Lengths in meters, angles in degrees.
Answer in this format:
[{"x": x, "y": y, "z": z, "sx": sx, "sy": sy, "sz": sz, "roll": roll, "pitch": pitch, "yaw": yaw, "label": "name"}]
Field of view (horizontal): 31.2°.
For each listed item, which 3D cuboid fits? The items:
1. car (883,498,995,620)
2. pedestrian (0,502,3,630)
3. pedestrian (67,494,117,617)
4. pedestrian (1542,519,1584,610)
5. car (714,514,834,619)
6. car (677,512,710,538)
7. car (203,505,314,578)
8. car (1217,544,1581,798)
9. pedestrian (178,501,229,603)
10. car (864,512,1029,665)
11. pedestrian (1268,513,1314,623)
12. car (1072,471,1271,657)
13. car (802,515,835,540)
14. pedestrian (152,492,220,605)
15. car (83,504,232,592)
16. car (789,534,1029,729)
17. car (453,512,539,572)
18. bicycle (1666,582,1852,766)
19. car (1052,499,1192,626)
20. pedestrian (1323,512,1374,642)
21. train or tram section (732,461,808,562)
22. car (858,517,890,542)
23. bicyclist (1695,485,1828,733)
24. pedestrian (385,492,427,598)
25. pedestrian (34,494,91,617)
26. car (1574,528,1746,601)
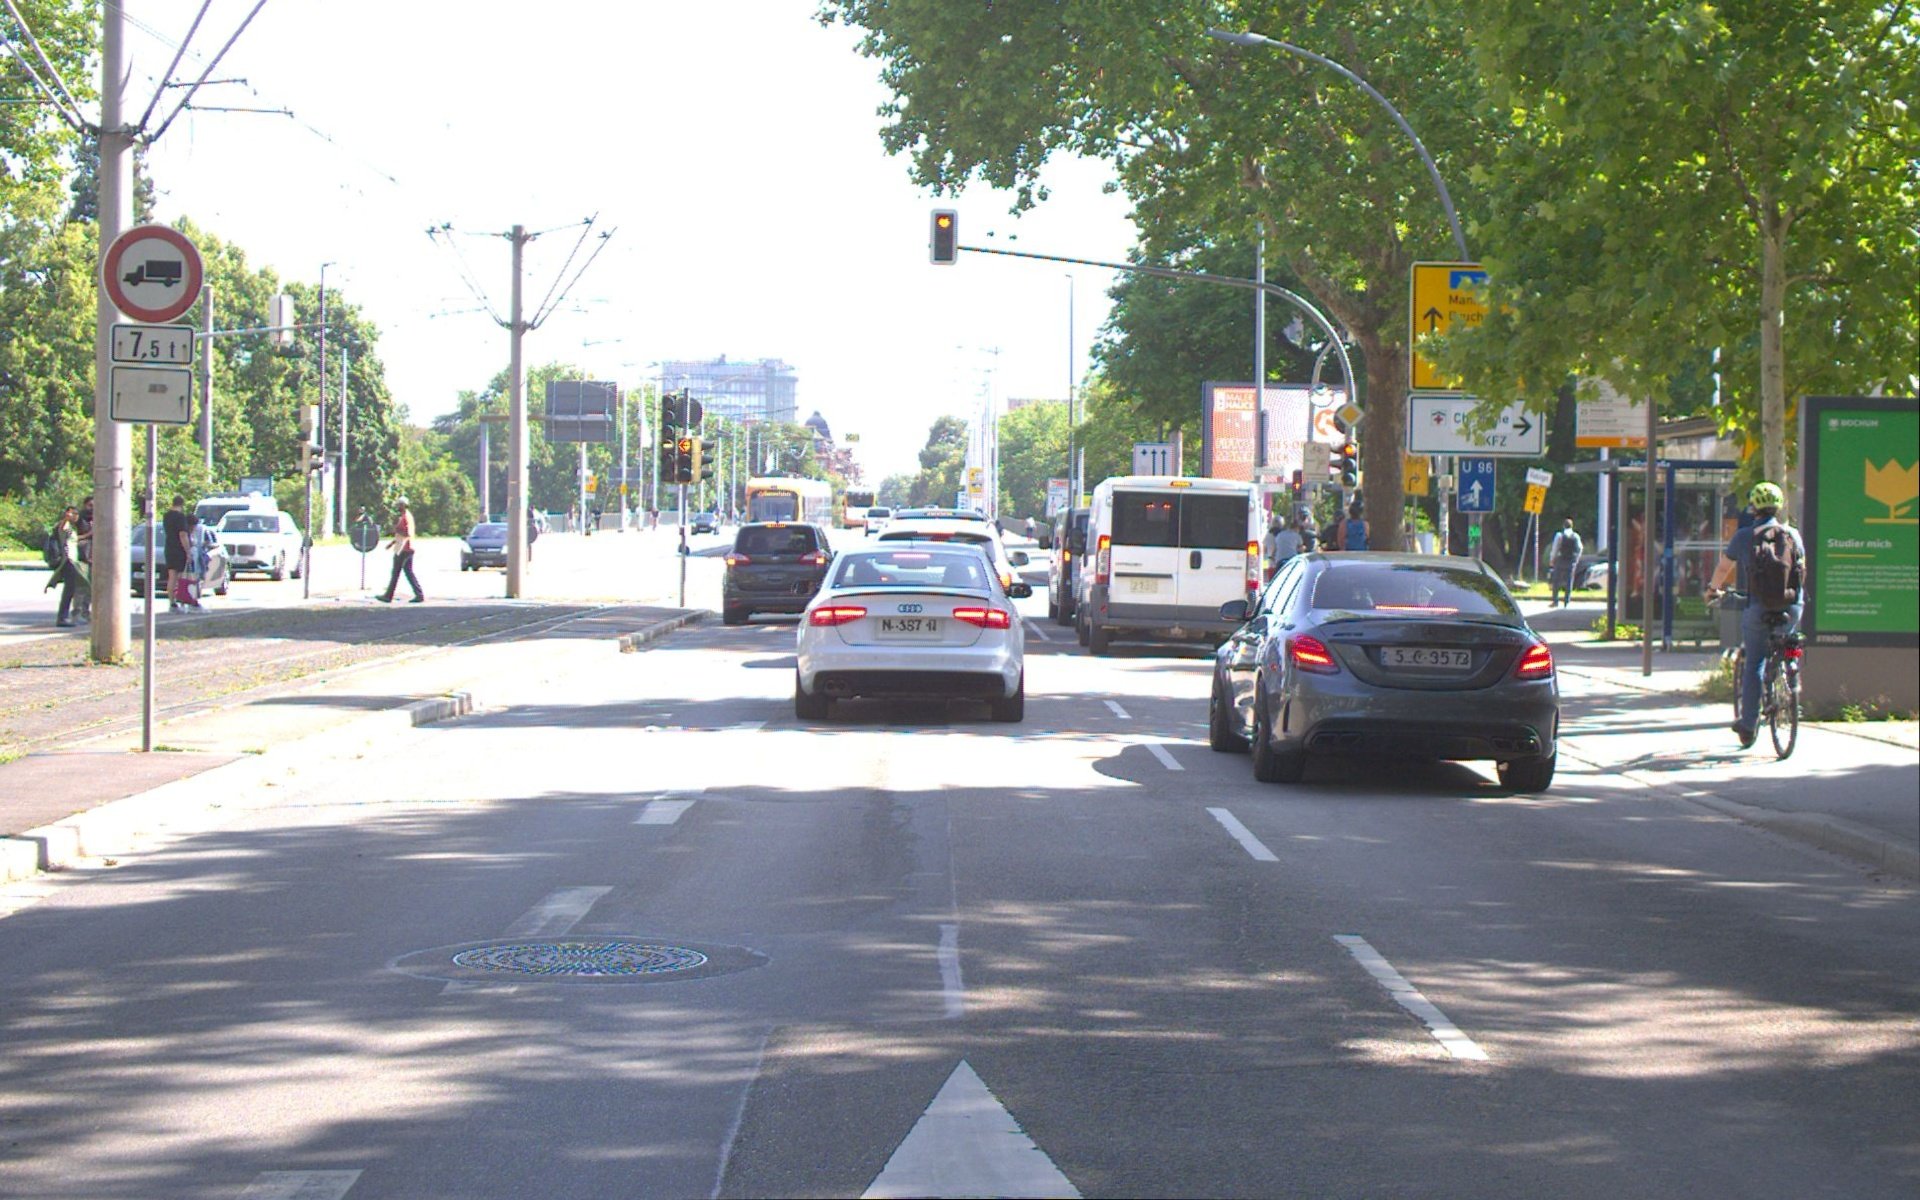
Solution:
[{"x": -0.335, "y": -0.694, "z": 56.458, "sx": 1.729, "sy": 1.895, "sz": 4.000, "roll": 2, "pitch": 1, "yaw": 0, "label": "car"}, {"x": -11.841, "y": -0.373, "z": 40.889, "sx": 0.757, "sy": 1.617, "sz": 0.595, "roll": 1, "pitch": 1, "yaw": -25, "label": "pedestrian"}, {"x": -11.950, "y": -0.616, "z": 47.347, "sx": 0.492, "sy": 1.673, "sz": 0.643, "roll": 2, "pitch": 1, "yaw": 0, "label": "pedestrian"}, {"x": 12.005, "y": -0.703, "z": 68.436, "sx": 0.778, "sy": 1.782, "sz": 0.763, "roll": 1, "pitch": 1, "yaw": 11, "label": "pedestrian"}, {"x": -3.023, "y": -0.569, "z": 56.466, "sx": 1.729, "sy": 1.625, "sz": 4.000, "roll": 2, "pitch": 1, "yaw": 0, "label": "car"}, {"x": -17.767, "y": -5.004, "z": 229.321, "sx": 1.993, "sy": 1.635, "sz": 4.000, "roll": 2, "pitch": 1, "yaw": -2, "label": "car"}, {"x": -16.352, "y": -1.371, "z": 80.289, "sx": 1.763, "sy": 1.603, "sz": 3.860, "roll": 2, "pitch": 1, "yaw": 0, "label": "car"}, {"x": 2.710, "y": 0.384, "z": 22.058, "sx": 1.782, "sy": 1.415, "sz": 4.000, "roll": 2, "pitch": 1, "yaw": 0, "label": "car"}, {"x": -11.915, "y": -0.753, "z": 54.139, "sx": 0.537, "sy": 1.592, "sz": 0.577, "roll": 2, "pitch": 1, "yaw": 19, "label": "pedestrian"}, {"x": -0.150, "y": -0.167, "z": 38.993, "sx": 1.729, "sy": 1.599, "sz": 3.885, "roll": 2, "pitch": 1, "yaw": 0, "label": "car"}, {"x": 5.149, "y": -0.508, "z": 53.552, "sx": 0.602, "sy": 1.689, "sz": 0.953, "roll": -1, "pitch": 1, "yaw": 0, "label": "pedestrian"}, {"x": 2.646, "y": -0.484, "z": 44.058, "sx": 2.230, "sy": 2.204, "sz": 4.162, "roll": 2, "pitch": 1, "yaw": 0, "label": "car"}, {"x": -9.460, "y": -4.873, "z": 230.721, "sx": 1.871, "sy": 1.603, "sz": 4.000, "roll": 2, "pitch": 1, "yaw": 2, "label": "car"}, {"x": -12.026, "y": -0.802, "z": 53.421, "sx": 0.775, "sy": 1.728, "sz": 0.754, "roll": 2, "pitch": 1, "yaw": 9, "label": "pedestrian"}, {"x": -15.445, "y": -1.020, "z": 66.348, "sx": 1.871, "sy": 1.603, "sz": 4.000, "roll": 2, "pitch": 1, "yaw": 0, "label": "car"}, {"x": -0.389, "y": 0.201, "z": 27.957, "sx": 1.784, "sy": 1.416, "sz": 3.885, "roll": 2, "pitch": 1, "yaw": 0, "label": "car"}, {"x": -13.894, "y": -1.744, "z": 103.131, "sx": 1.993, "sy": 1.728, "sz": 4.000, "roll": 2, "pitch": 1, "yaw": 0, "label": "car"}, {"x": 5.450, "y": 0.479, "z": 23.572, "sx": 0.714, "sy": 1.144, "sz": 2.178, "roll": -1, "pitch": 1, "yaw": -1, "label": "bicycle"}, {"x": 2.663, "y": -0.653, "z": 57.417, "sx": 2.072, "sy": 1.992, "sz": 4.058, "roll": 2, "pitch": 1, "yaw": 0, "label": "car"}, {"x": 5.873, "y": -0.353, "z": 52.041, "sx": 0.635, "sy": 1.939, "sz": 0.719, "roll": 2, "pitch": 1, "yaw": 0, "label": "pedestrian"}, {"x": -7.863, "y": -3.655, "z": 143.030, "sx": 2.617, "sy": 4.001, "sz": 7.749, "roll": 2, "pitch": 1, "yaw": 0, "label": "train or tram section"}, {"x": -5.766, "y": -4.740, "z": 230.515, "sx": 1.871, "sy": 1.603, "sz": 4.000, "roll": 2, "pitch": 1, "yaw": 2, "label": "car"}, {"x": 5.443, "y": 0.050, "z": 23.381, "sx": 0.634, "sy": 1.642, "sz": 0.979, "roll": -1, "pitch": 1, "yaw": -1, "label": "bicyclist"}, {"x": -10.206, "y": -1.015, "z": 63.325, "sx": 0.624, "sy": 1.911, "sz": 0.690, "roll": 2, "pitch": 1, "yaw": 0, "label": "pedestrian"}, {"x": -12.167, "y": -0.608, "z": 46.592, "sx": 0.593, "sy": 1.641, "sz": 0.554, "roll": 2, "pitch": 1, "yaw": 0, "label": "pedestrian"}, {"x": 17.056, "y": -0.882, "z": 83.882, "sx": 3.777, "sy": 1.666, "sz": 1.793, "roll": 2, "pitch": 1, "yaw": 1, "label": "car"}]
